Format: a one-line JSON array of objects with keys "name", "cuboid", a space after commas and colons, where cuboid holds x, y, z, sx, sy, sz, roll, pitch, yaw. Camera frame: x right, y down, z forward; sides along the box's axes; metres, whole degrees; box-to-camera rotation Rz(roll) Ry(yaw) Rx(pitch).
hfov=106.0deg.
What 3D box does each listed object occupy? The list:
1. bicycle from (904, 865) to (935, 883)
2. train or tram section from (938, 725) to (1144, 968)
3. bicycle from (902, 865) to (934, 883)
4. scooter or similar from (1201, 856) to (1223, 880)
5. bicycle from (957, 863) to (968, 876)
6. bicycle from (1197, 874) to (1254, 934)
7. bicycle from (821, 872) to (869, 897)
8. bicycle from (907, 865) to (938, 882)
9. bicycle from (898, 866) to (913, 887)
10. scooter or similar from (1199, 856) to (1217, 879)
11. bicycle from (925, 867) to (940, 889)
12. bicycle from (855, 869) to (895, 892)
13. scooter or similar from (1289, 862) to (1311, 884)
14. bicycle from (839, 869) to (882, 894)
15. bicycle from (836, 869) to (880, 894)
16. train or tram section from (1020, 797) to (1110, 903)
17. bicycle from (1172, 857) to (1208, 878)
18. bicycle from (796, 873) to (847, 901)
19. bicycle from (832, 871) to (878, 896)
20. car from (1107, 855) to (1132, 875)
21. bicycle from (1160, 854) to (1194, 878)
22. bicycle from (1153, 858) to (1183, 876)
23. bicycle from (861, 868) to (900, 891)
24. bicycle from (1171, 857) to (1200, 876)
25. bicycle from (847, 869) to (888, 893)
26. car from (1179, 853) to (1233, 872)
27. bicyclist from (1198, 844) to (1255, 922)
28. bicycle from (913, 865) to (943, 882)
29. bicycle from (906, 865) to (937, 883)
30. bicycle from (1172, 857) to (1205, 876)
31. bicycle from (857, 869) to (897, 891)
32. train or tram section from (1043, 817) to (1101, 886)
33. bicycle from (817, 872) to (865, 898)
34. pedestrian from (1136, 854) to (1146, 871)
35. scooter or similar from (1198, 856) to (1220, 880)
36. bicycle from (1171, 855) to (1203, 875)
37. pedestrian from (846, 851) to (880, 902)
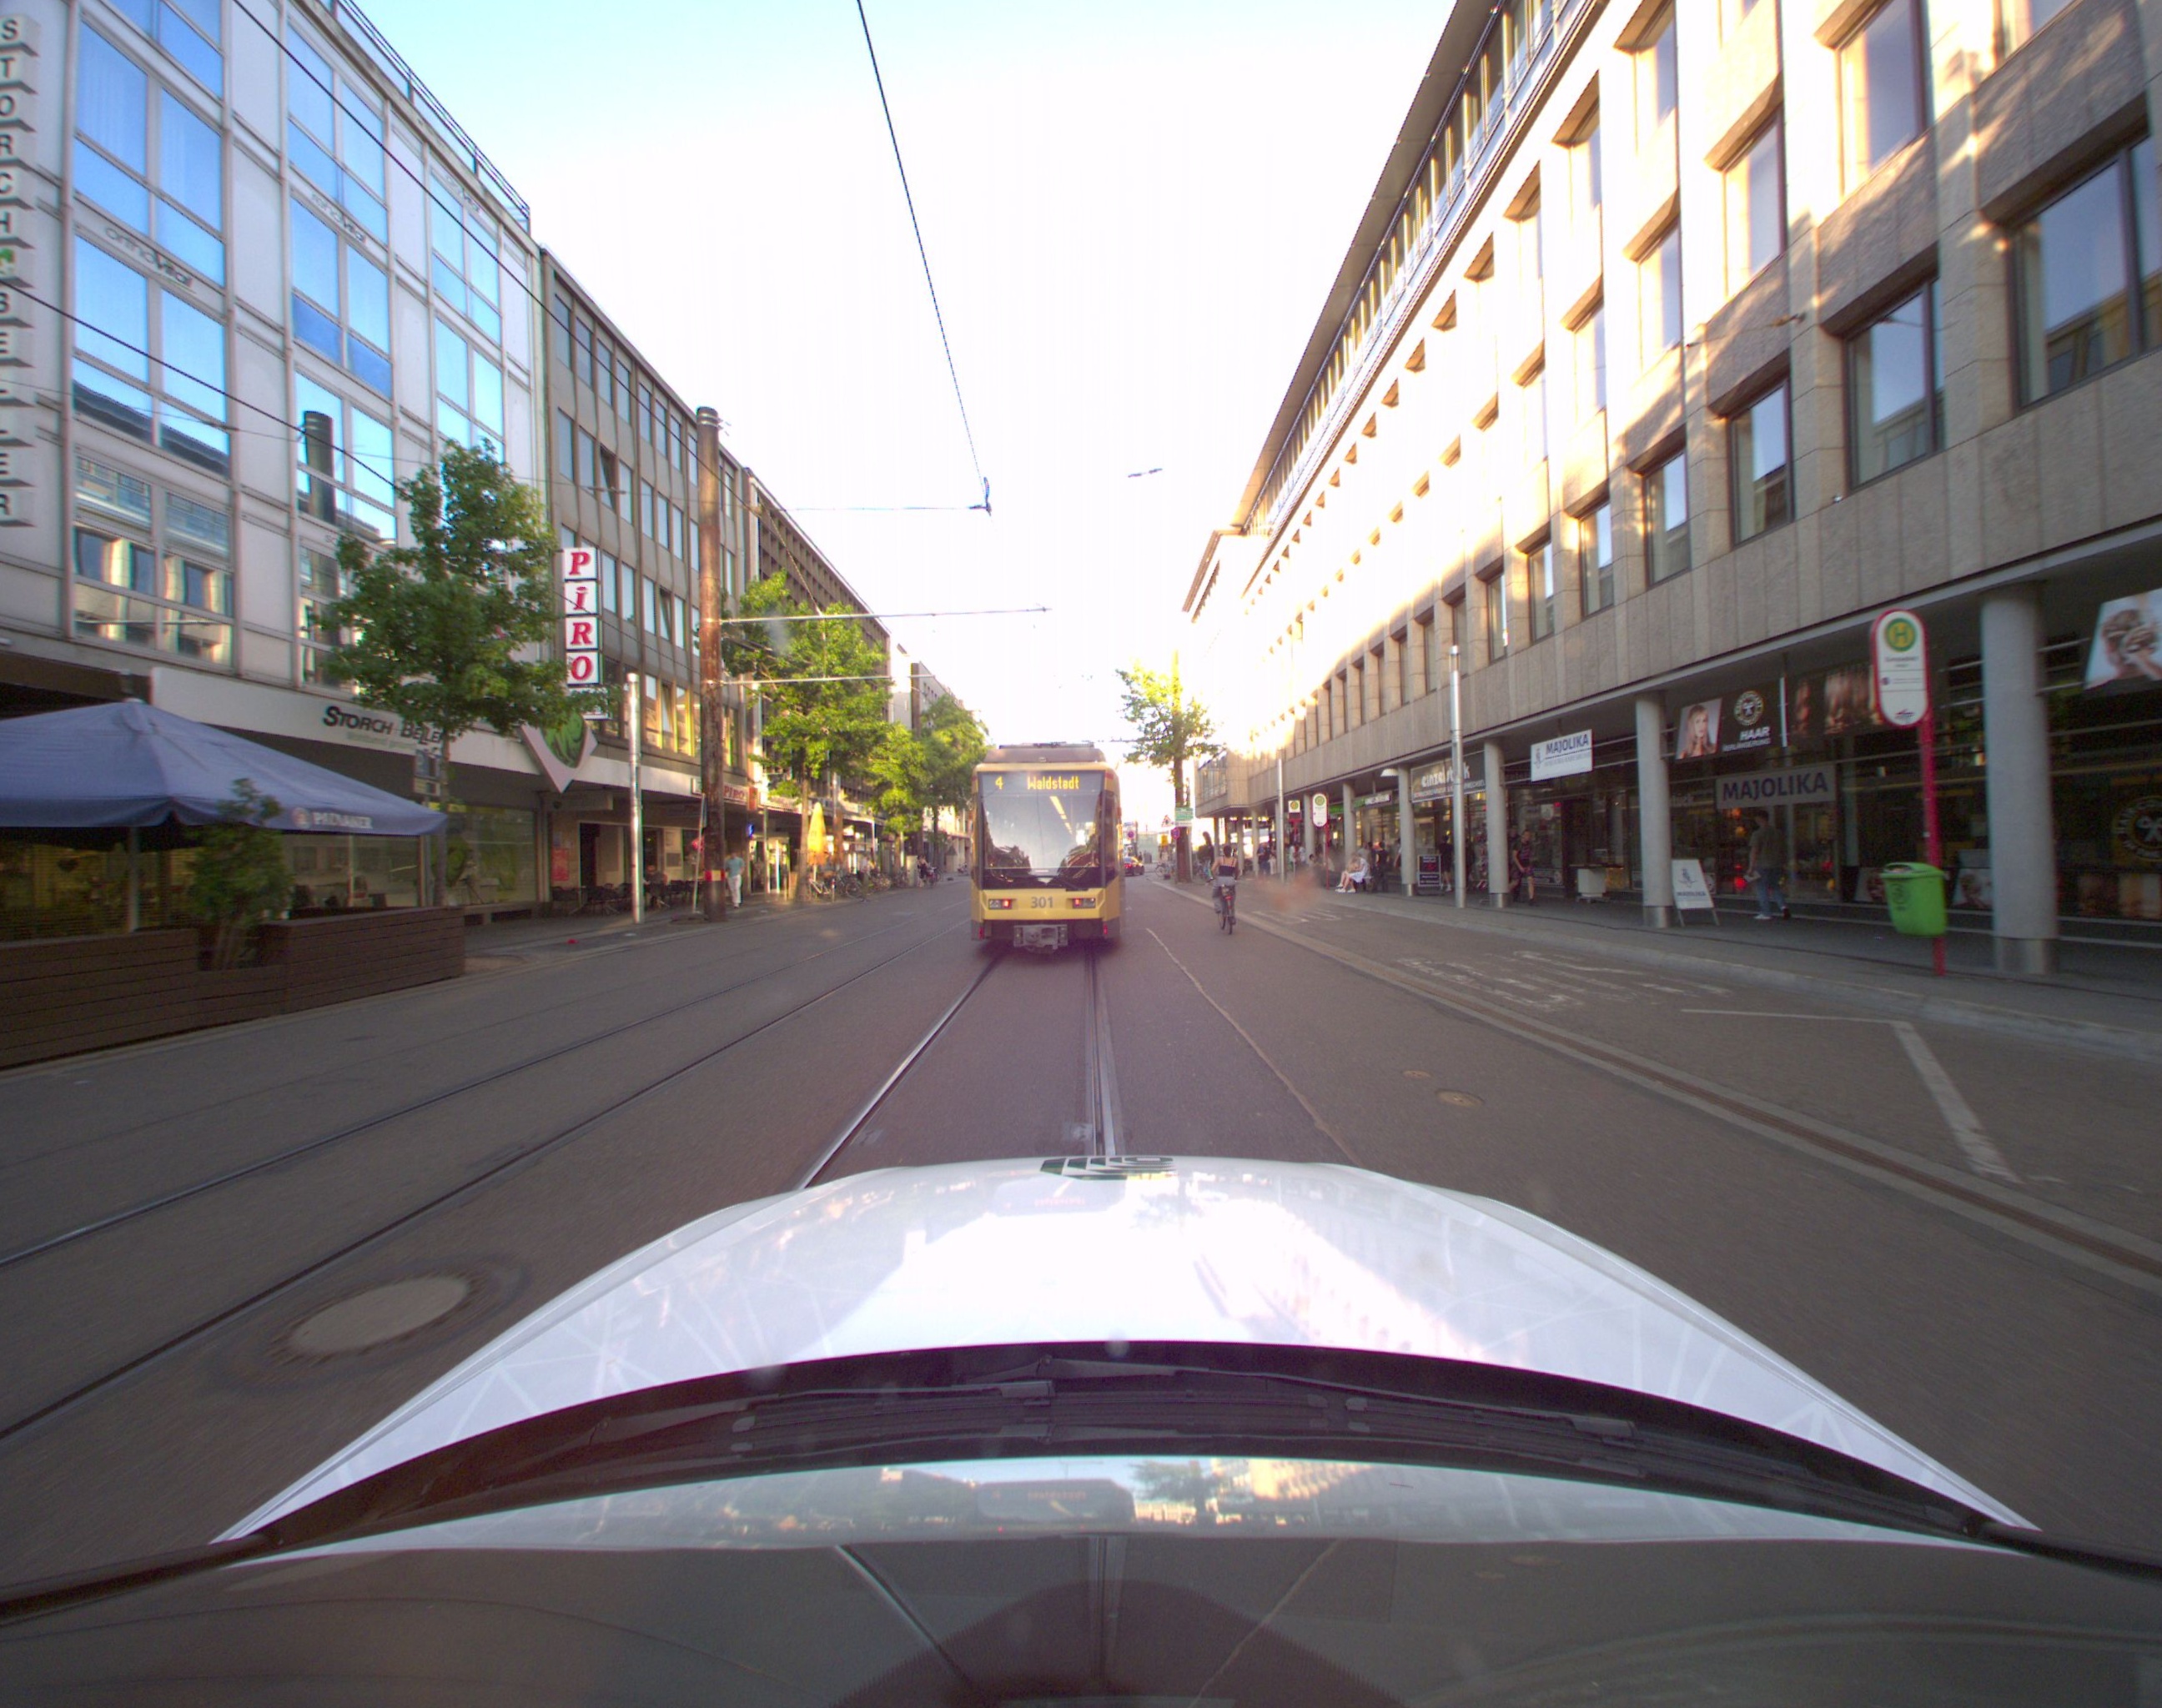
[{"name": "bicycle", "cuboid": [-9.674, 1.197, 48.882, 1.766, 1.045, 0.489, 0, 0, 0]}, {"name": "train or tram section", "cuboid": [-0.533, -0.119, 18.615, 2.791, 3.319, 14.506, -2, 0, 0]}, {"name": "bicycle", "cuboid": [-9.682, 1.192, 48.310, 1.766, 1.045, 0.489, 0, 0, 0]}, {"name": "scooter or similar", "cuboid": [7.172, 0.765, 44.532, 1.119, 1.251, 0.492, -3, 0, -30]}, {"name": "bicycle", "cuboid": [-10.582, 1.350, 72.604, 0.496, 1.107, 1.803, -2, 1, 6]}, {"name": "bicycle", "cuboid": [2.900, 0.977, 16.532, 0.812, 1.073, 2.114, 0, 0, 1]}, {"name": "bicycle", "cuboid": [-9.415, 1.214, 32.510, 1.769, 0.990, 0.488, 0, 1, -6]}, {"name": "bicycle", "cuboid": [-9.686, 1.204, 49.703, 1.766, 1.045, 0.489, 0, 0, 0]}, {"name": "bicycle", "cuboid": [-9.082, 1.141, 42.189, 0.487, 1.045, 1.776, -1, 0, -2]}, {"name": "scooter or similar", "cuboid": [7.178, 0.749, 45.922, 0.388, 1.251, 1.199, -2, 0, 38]}, {"name": "bicycle", "cuboid": [-7.712, 1.232, 42.382, 0.487, 1.045, 1.776, -1, 0, -2]}, {"name": "bicycle", "cuboid": [-9.747, 1.240, 38.579, 1.769, 1.071, 0.488, 0, 0, -6]}, {"name": "scooter or similar", "cuboid": [8.772, 0.758, 32.615, 0.827, 0.884, 0.689, 0, -1, 14]}, {"name": "bicycle", "cuboid": [-9.754, 1.220, 36.119, 1.769, 1.071, 0.488, 0, 0, -6]}, {"name": "bicycle", "cuboid": [-9.739, 1.215, 35.541, 1.769, 1.071, 0.488, 0, 0, -6]}, {"name": "train or tram section", "cuboid": [-0.484, -0.134, 33.129, 2.791, 3.319, 14.506, -2, 0, 0]}, {"name": "bicycle", "cuboid": [6.538, 0.791, 48.899, 1.992, 1.155, 0.724, -4, 0, -5]}, {"name": "bicycle", "cuboid": [-9.323, 1.186, 29.299, 1.758, 0.966, 0.491, 0, -1, 17]}, {"name": "bicycle", "cuboid": [-9.394, 1.225, 33.922, 1.769, 0.990, 0.488, 0, 1, -6]}, {"name": "car", "cuboid": [2.855, 0.818, 59.701, 1.762, 1.409, 4.056, -1, -1, 4]}, {"name": "bicycle", "cuboid": [5.882, 0.742, 49.892, 1.912, 1.333, 0.724, -4, 0, -5]}, {"name": "bicycle", "cuboid": [5.789, 0.883, 54.078, 1.848, 1.109, 0.666, -3, 0, -3]}, {"name": "bicycle", "cuboid": [-9.781, 1.250, 39.777, 1.769, 1.071, 0.488, 0, 0, -6]}, {"name": "bicycle", "cuboid": [6.957, 0.828, 54.281, 1.848, 1.109, 0.666, -3, 0, -3]}, {"name": "bicycle", "cuboid": [-9.792, 1.231, 37.359, 1.769, 1.071, 0.488, 0, 0, -6]}, {"name": "car", "cuboid": [9.894, 0.679, 64.575, 3.885, 1.409, 1.771, -1, -1, -8]}, {"name": "bicyclist", "cuboid": [2.893, 0.561, 16.266, 0.993, 1.502, 0.857, 0, 0, 1]}, {"name": "bicycle", "cuboid": [-9.633, 1.216, 51.344, 1.766, 1.045, 0.489, 0, 0, 0]}, {"name": "bicycle", "cuboid": [-9.692, 1.202, 49.460, 1.766, 1.045, 0.489, 0, 0, 0]}, {"name": "bicycle", "cuboid": [6.849, 0.780, 51.886, 1.912, 1.077, 0.762, -4, 0, -5]}, {"name": "bicycle", "cuboid": [-9.797, 1.245, 39.124, 1.769, 1.071, 0.488, 0, 0, -6]}, {"name": "train or tram section", "cuboid": [-0.442, -0.139, 47.621, 2.791, 3.319, 14.506, -2, 0, 0]}, {"name": "bicycle", "cuboid": [-9.411, 1.209, 31.982, 1.769, 0.990, 0.488, 0, 1, -6]}, {"name": "pedestrian", "cuboid": [6.519, 0.929, 88.412, 0.734, 1.823, 0.816, -1, 0, -14]}, {"name": "scooter or similar", "cuboid": [7.122, 0.757, 45.307, 1.195, 1.251, 0.389, -3, 0, -29]}, {"name": "bicycle", "cuboid": [6.857, 0.706, 52.633, 1.912, 1.222, 0.762, -4, 0, -5]}, {"name": "pedestrian", "cuboid": [-7.794, 0.799, 29.131, 0.826, 1.792, 0.979, -1, -1, -39]}]
